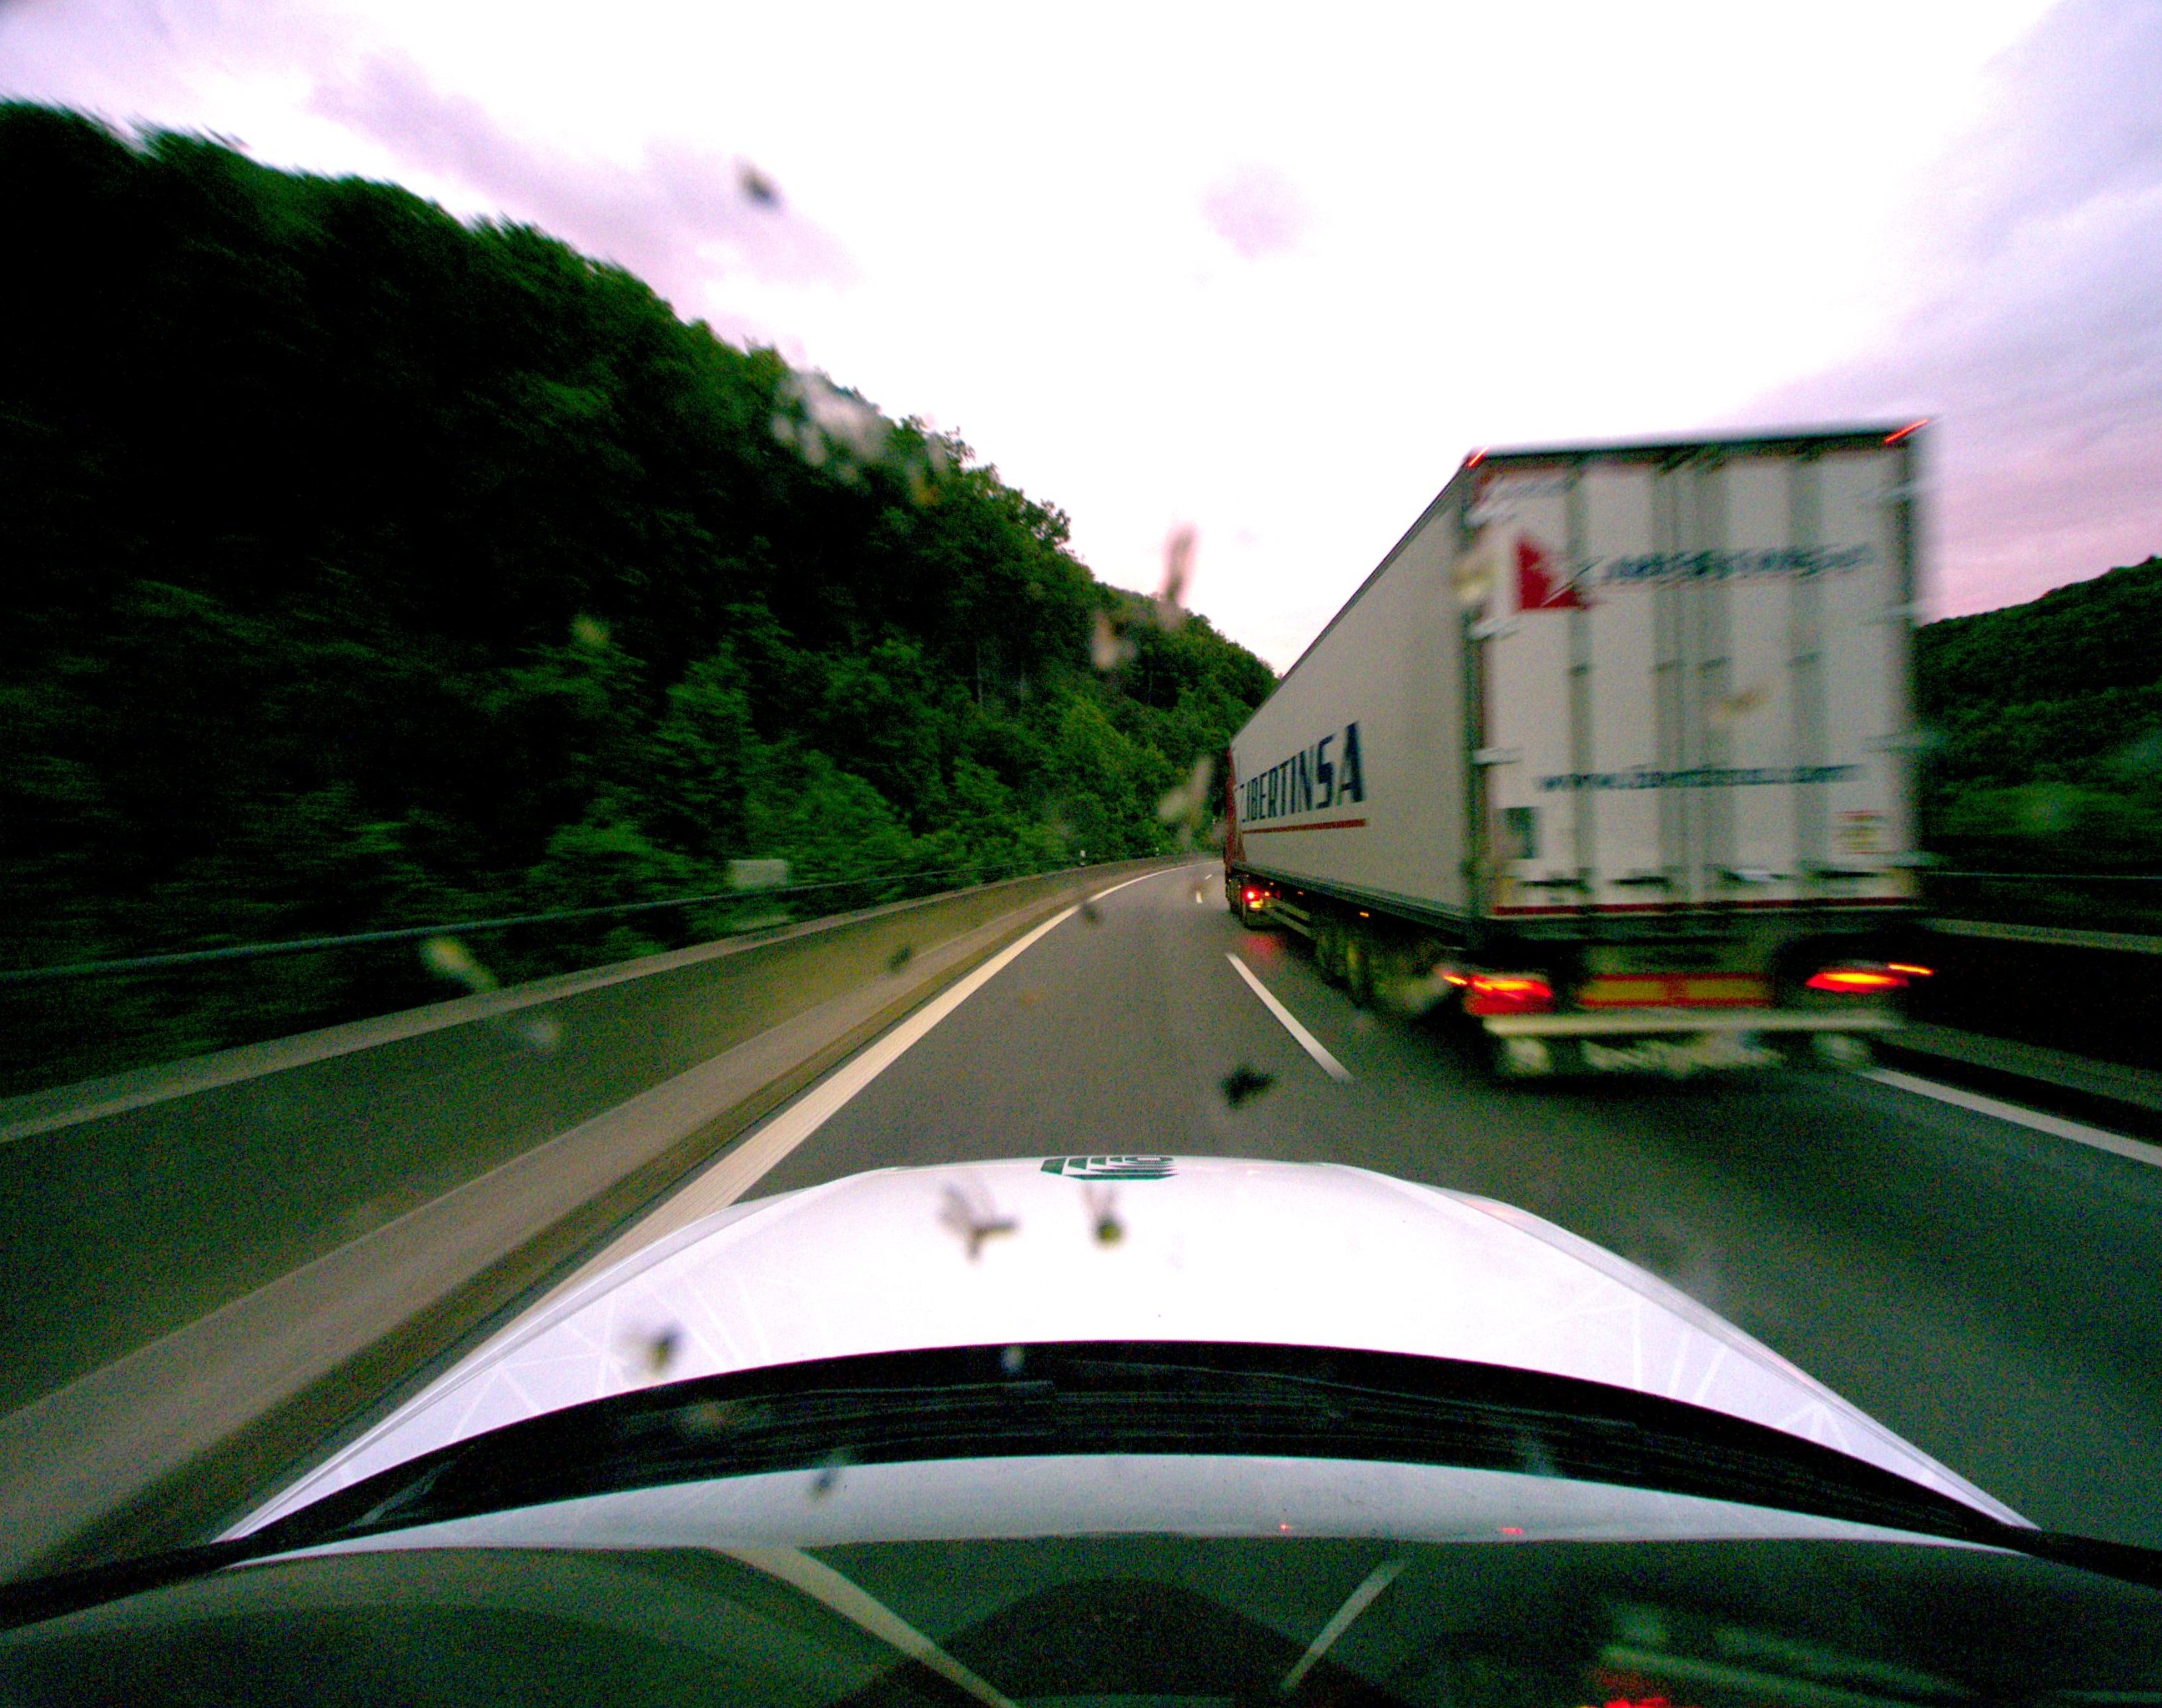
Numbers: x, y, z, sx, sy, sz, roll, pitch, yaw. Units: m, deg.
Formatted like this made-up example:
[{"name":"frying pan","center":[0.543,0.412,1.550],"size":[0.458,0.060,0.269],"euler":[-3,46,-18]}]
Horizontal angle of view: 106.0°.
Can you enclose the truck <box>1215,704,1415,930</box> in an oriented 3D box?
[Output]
[{"name":"truck","center":[4.872,-0.656,18.373],"size":[3.055,4.145,6.455],"euler":[-1,-1,5]}]

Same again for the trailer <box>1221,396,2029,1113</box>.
[{"name":"trailer","center":[4.296,-0.602,11.765],"size":[3.083,3.970,14.237],"euler":[-2,0,5]}]

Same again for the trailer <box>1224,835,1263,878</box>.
[{"name":"trailer","center":[9.626,0.075,48.651],"size":[2.042,2.374,5.954],"euler":[0,1,9]}]
